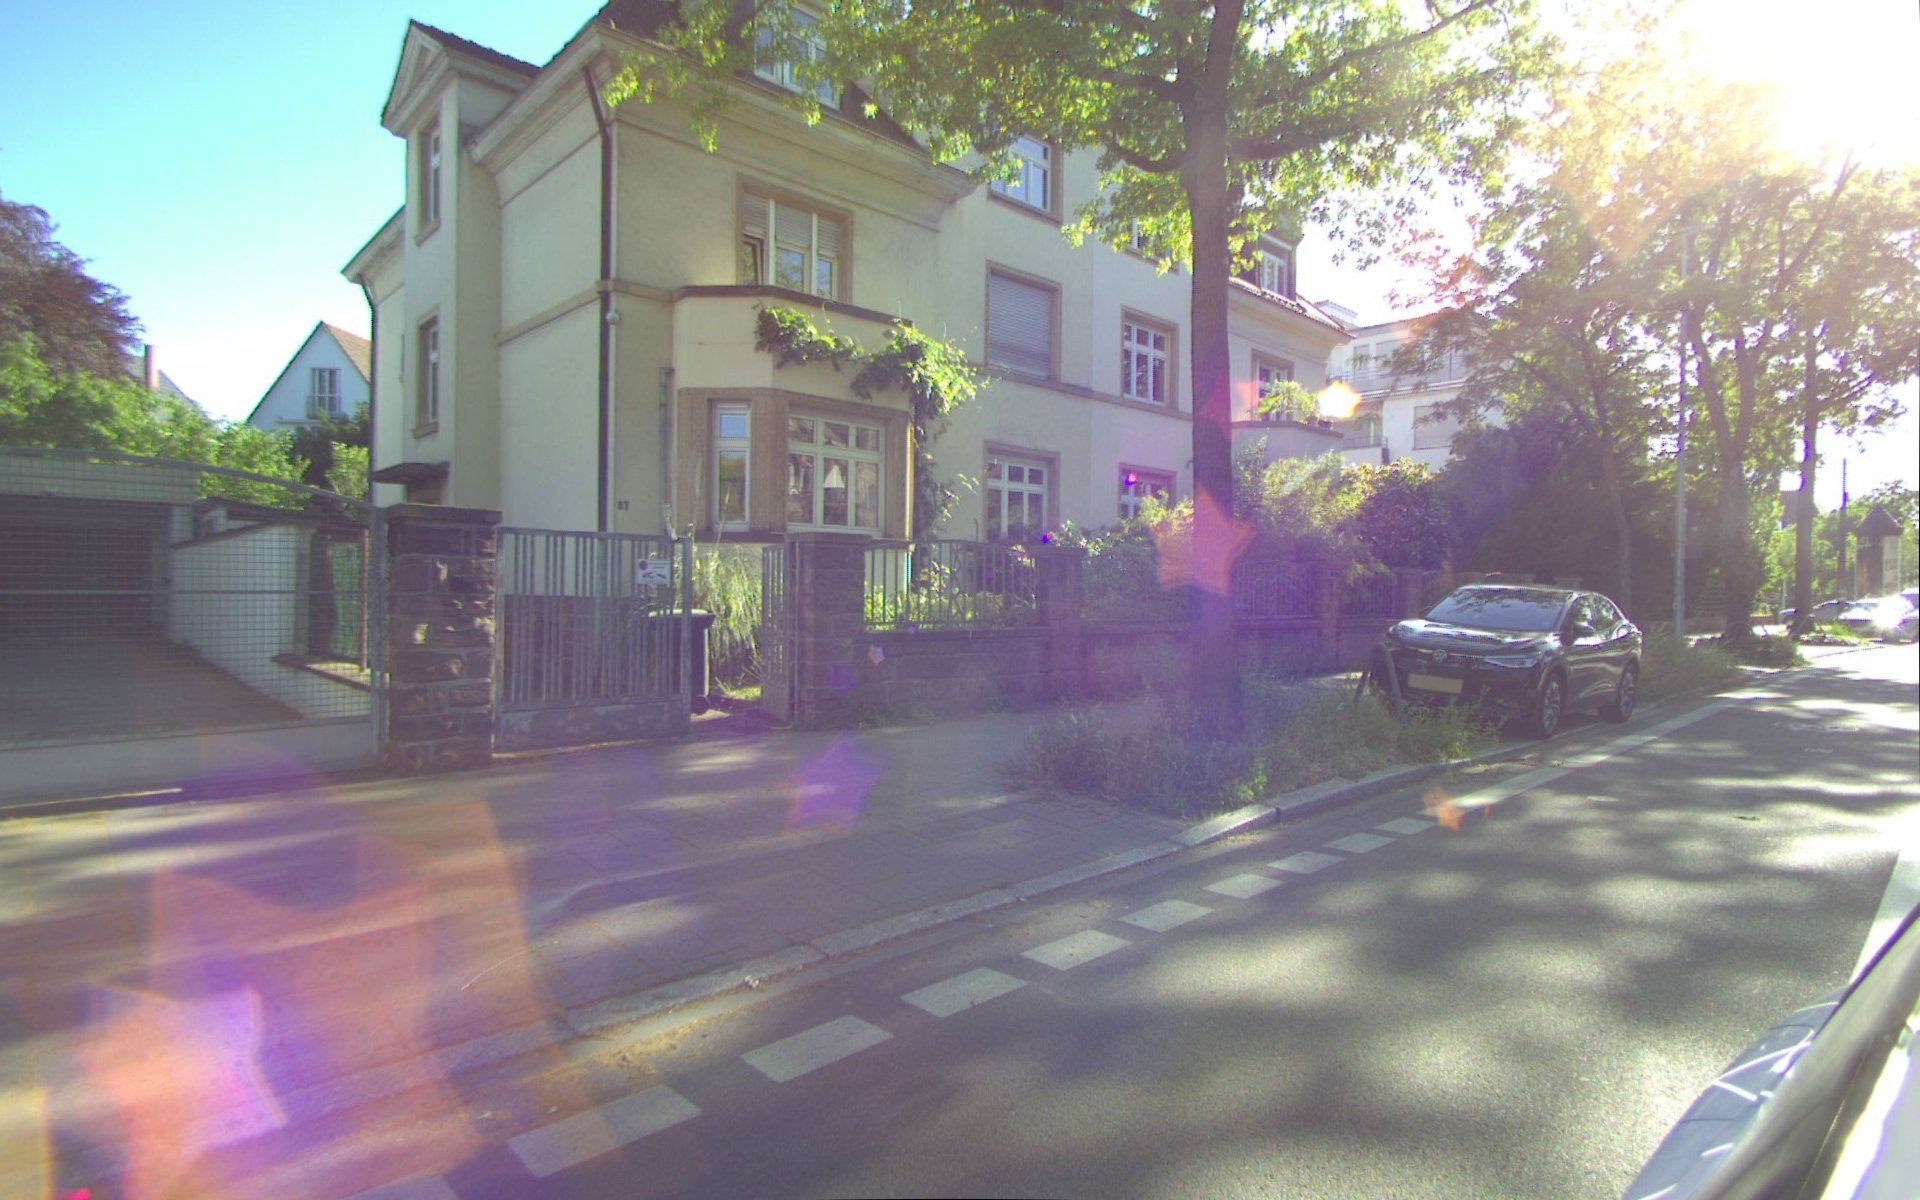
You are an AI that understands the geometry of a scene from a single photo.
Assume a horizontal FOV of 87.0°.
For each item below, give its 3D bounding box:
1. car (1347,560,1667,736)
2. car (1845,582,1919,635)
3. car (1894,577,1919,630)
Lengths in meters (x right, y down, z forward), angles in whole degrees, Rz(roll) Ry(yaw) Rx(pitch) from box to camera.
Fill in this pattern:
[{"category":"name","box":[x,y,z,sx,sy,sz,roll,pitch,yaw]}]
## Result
[{"category":"car","box":[6.698,0.480,12.200,4.304,1.695,1.997,1,2,-42]},{"category":"car","box":[31.507,0.251,34.103,3.927,1.660,1.824,0,1,-38]},{"category":"car","box":[36.762,0.128,37.880,4.663,1.919,2.128,0,1,-41]}]
